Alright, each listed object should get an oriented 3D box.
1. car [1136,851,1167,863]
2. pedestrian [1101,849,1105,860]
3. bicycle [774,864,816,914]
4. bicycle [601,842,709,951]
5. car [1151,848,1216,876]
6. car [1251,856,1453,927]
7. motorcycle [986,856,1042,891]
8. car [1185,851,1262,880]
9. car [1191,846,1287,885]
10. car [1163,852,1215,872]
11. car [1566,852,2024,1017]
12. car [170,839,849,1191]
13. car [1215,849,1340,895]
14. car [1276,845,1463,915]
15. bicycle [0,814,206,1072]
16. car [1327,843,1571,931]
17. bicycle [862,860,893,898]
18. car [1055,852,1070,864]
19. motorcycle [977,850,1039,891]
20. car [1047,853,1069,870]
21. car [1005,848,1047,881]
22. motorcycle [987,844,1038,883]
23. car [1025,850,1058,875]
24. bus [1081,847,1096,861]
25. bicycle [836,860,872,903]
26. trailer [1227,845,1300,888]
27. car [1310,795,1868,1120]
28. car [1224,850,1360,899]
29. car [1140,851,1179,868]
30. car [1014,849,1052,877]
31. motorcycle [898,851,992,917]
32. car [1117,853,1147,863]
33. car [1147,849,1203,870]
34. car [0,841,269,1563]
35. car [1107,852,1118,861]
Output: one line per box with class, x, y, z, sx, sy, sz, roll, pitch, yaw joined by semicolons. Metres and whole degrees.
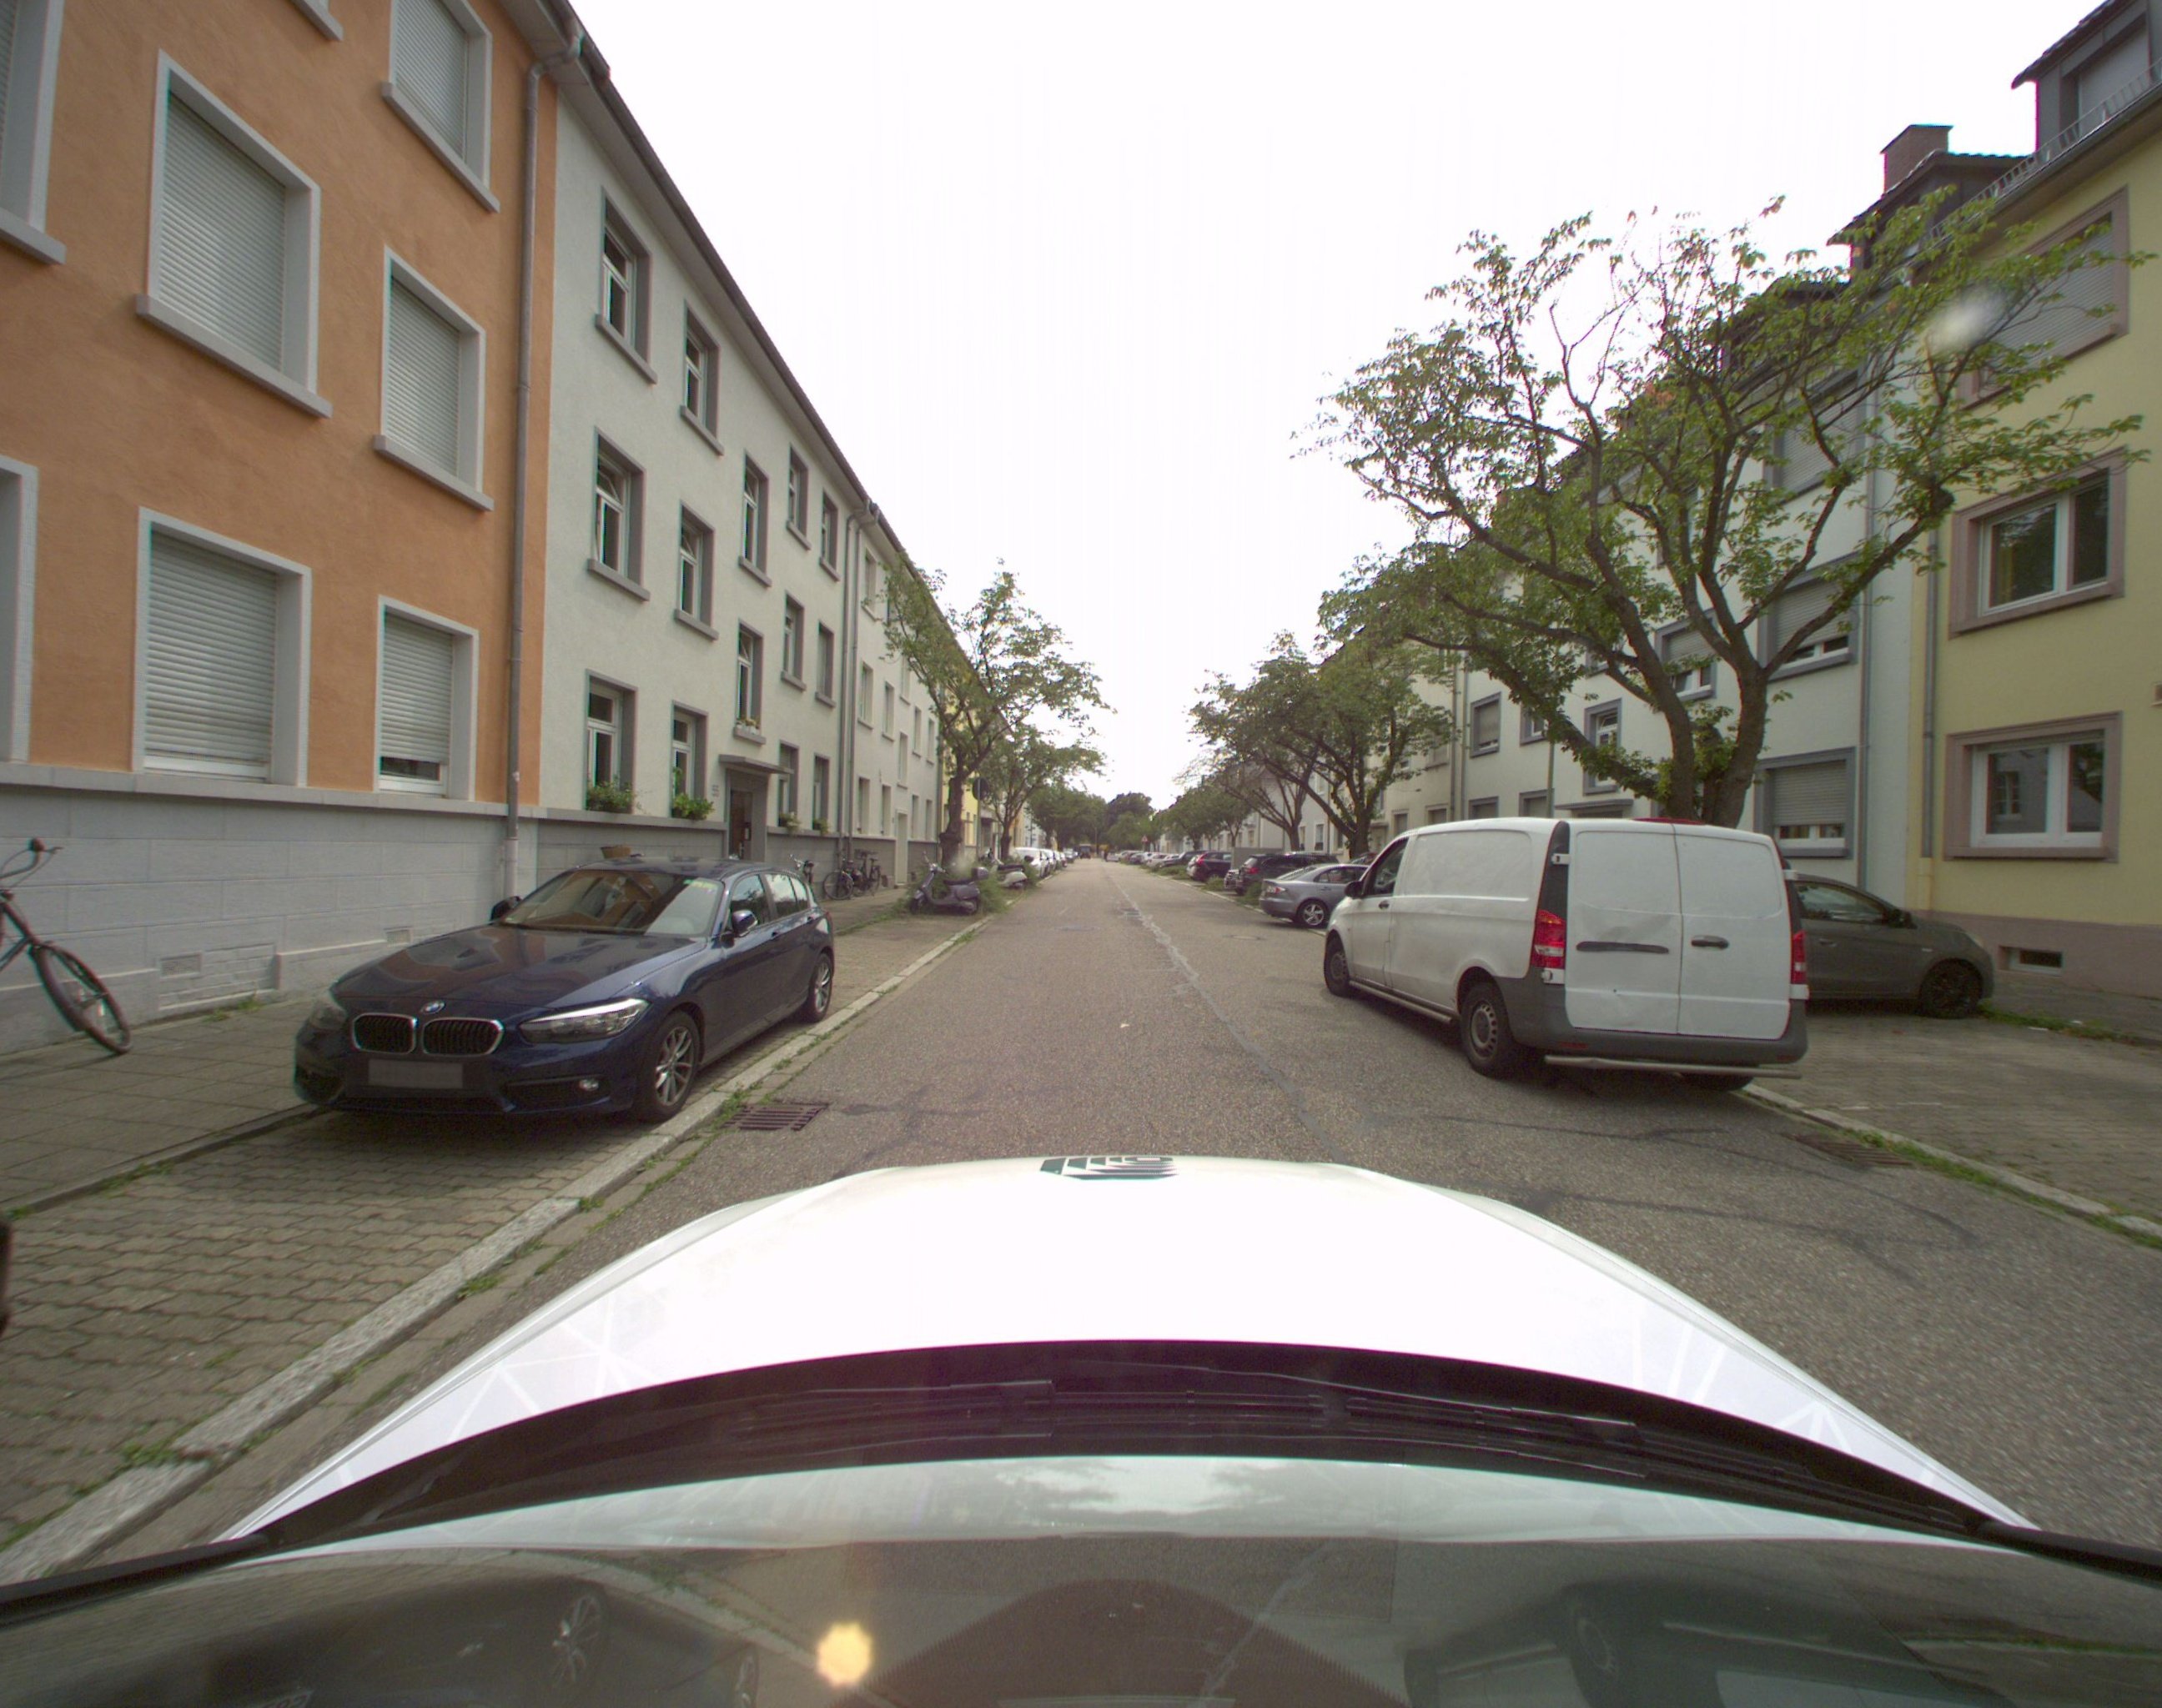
car;8.616;0.367;99.719;3.734;1.365;1.773;-1;0;1
pedestrian;3.542;0.095;130.968;0.520;1.704;0.445;-1;-1;4
bicycle;-5.882;0.698;16.789;0.308;0.966;1.435;-1;0;2
bicycle;-5.642;0.524;10.904;0.428;1.334;1.812;-1;0;2
car;7.357;0.567;58.653;4.507;1.858;1.794;-1;0;2
car;6.025;0.806;18.428;3.974;1.455;1.766;-1;0;0
motorcycle;-2.400;0.683;29.360;1.916;1.192;0.592;-1;-1;-26
car;7.950;0.613;45.667;3.977;1.530;1.766;-1;0;-3
car;7.410;0.546;38.461;4.198;1.736;1.905;-1;0;2
car;8.172;0.589;61.614;3.617;1.454;1.771;-1;0;-4
car;7.623;0.799;8.974;3.468;1.574;1.814;-1;0;-1
car;-3.148;0.744;5.739;1.831;1.484;4.118;4;0;-1
car;7.335;0.665;30.693;4.204;1.598;1.902;-1;0;-2
car;7.349;0.653;21.097;4.198;1.677;1.905;-1;0;2
bicycle;-5.809;0.465;4.272;0.428;1.334;1.812;-1;0;2
car;6.979;0.601;15.721;3.974;1.536;1.638;-1;0;-1
bicycle;-5.514;0.661;22.086;0.418;1.006;1.435;-1;0;2
car;-2.555;0.554;114.533;1.755;1.554;3.734;-1;0;4
motorcycle;-2.717;0.608;30.411;2.243;1.481;0.592;-1;-1;-26
car;-2.122;0.682;76.130;1.870;1.486;4.512;-1;0;1
car;-2.722;0.497;40.839;1.751;1.556;4.256;0;0;0
motorcycle;-3.105;0.413;36.780;0.944;1.676;2.444;1;0;-43
car;-2.643;0.540;55.279;1.911;1.581;4.383;-1;0;1
bus;1.553;0.068;171.726;2.994;2.761;8.922;-1;0;0
bicycle;-5.496;0.649;19.763;0.418;1.006;1.435;-1;0;2
trailer;8.069;0.561;36.103;2.948;1.831;1.402;-1;0;4
car;3.801;0.653;7.351;1.988;1.915;4.701;3;0;-1
car;7.230;0.690;28.210;4.203;1.598;1.902;-1;0;-2
car;8.097;0.573;84.222;3.909;1.633;1.868;-1;0;1
car;-2.718;0.528;46.892;1.784;1.492;4.812;2;-1;1
motorcycle;-3.047;0.653;18.263;2.012;1.407;0.789;-1;-1;-11
car;8.779;0.683;139.921;4.961;1.518;1.767;-1;0;-2
car;8.018;0.462;70.016;4.598;1.664;1.893;-1;0;1
car;-3.100;0.686;0.113;1.831;1.484;4.091;2;0;-1
car;5.039;0.386;131.537;1.681;1.354;3.828;-1;0;2
